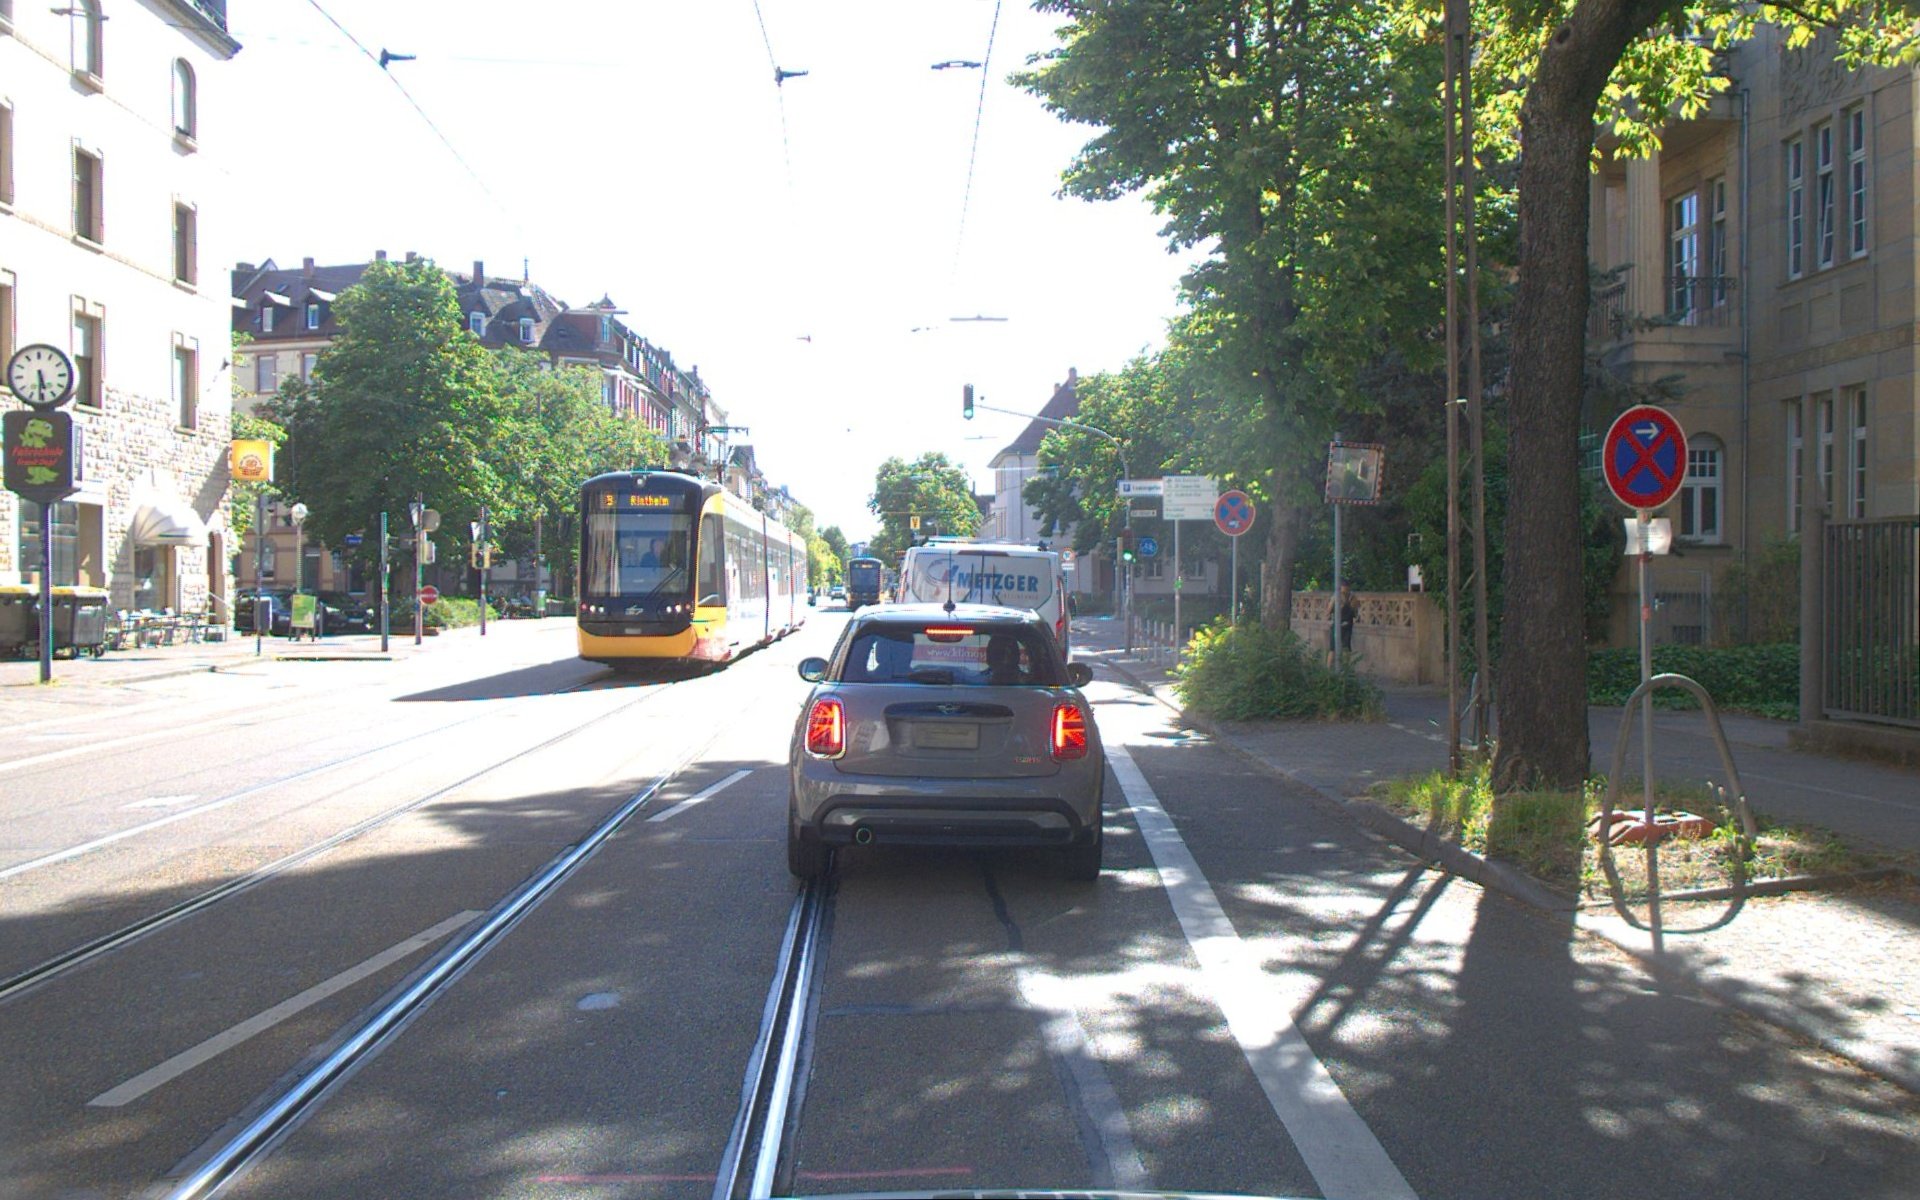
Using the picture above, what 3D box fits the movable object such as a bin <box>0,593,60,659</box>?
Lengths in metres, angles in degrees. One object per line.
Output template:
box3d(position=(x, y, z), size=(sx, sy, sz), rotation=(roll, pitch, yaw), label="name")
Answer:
box3d(position=(-17.985, 0.486, 31.630), size=(0.815, 1.244, 1.244), rotation=(1, 0, 1), label="movable object such as a bin")

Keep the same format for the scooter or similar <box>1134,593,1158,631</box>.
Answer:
box3d(position=(6.607, 0.425, 58.909), size=(0.662, 1.333, 1.328), rotation=(1, 0, -2), label="scooter or similar")

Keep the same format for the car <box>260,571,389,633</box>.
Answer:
box3d(position=(-21.625, 0.059, 56.278), size=(3.910, 2.049, 1.997), rotation=(1, 0, 28), label="car")

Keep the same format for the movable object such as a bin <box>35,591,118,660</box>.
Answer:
box3d(position=(-17.081, 0.487, 32.011), size=(0.925, 1.296, 1.144), rotation=(1, 0, 3), label="movable object such as a bin")

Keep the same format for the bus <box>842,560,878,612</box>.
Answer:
box3d(position=(-7.179, -0.959, 118.625), size=(2.339, 3.557, 7.376), rotation=(1, 0, -5), label="bus")

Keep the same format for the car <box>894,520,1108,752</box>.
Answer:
box3d(position=(0.370, 0.365, 18.731), size=(2.075, 2.247, 4.943), rotation=(1, 0, -1), label="car")

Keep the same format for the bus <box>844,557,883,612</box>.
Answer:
box3d(position=(-6.531, -0.999, 111.240), size=(2.339, 3.557, 7.376), rotation=(1, 0, -5), label="bus")

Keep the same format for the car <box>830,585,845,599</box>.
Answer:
box3d(position=(-14.681, -0.989, 198.441), size=(1.741, 1.646, 3.996), rotation=(1, 0, -4), label="car")

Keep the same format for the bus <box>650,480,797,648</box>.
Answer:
box3d(position=(-6.029, -0.810, 43.918), size=(2.803, 3.843, 11.176), rotation=(1, 0, -3), label="bus")

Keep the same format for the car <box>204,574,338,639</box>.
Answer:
box3d(position=(-22.573, 0.210, 54.187), size=(3.910, 2.049, 1.997), rotation=(1, 0, 28), label="car")

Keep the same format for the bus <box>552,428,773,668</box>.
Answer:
box3d(position=(-5.472, -0.815, 32.582), size=(2.803, 3.843, 11.490), rotation=(1, 0, -3), label="bus")

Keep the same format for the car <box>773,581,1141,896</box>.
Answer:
box3d(position=(-0.040, 0.688, 10.089), size=(1.778, 1.514, 3.999), rotation=(1, 0, -1), label="car")

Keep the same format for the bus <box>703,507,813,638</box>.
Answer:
box3d(position=(-6.566, -0.804, 55.413), size=(2.793, 3.843, 12.189), rotation=(1, 0, -3), label="bus")

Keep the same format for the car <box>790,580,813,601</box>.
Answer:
box3d(position=(-12.936, -0.730, 135.354), size=(1.741, 1.646, 3.996), rotation=(1, 0, -4), label="car")

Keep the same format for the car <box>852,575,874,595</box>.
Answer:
box3d(position=(-8.454, -1.301, 144.446), size=(1.827, 1.591, 3.996), rotation=(1, 0, -4), label="car")

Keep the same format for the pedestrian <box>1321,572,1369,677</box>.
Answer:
box3d(position=(6.359, 0.404, 27.349), size=(0.580, 1.700, 0.646), rotation=(-2, 0, -1), label="pedestrian")
